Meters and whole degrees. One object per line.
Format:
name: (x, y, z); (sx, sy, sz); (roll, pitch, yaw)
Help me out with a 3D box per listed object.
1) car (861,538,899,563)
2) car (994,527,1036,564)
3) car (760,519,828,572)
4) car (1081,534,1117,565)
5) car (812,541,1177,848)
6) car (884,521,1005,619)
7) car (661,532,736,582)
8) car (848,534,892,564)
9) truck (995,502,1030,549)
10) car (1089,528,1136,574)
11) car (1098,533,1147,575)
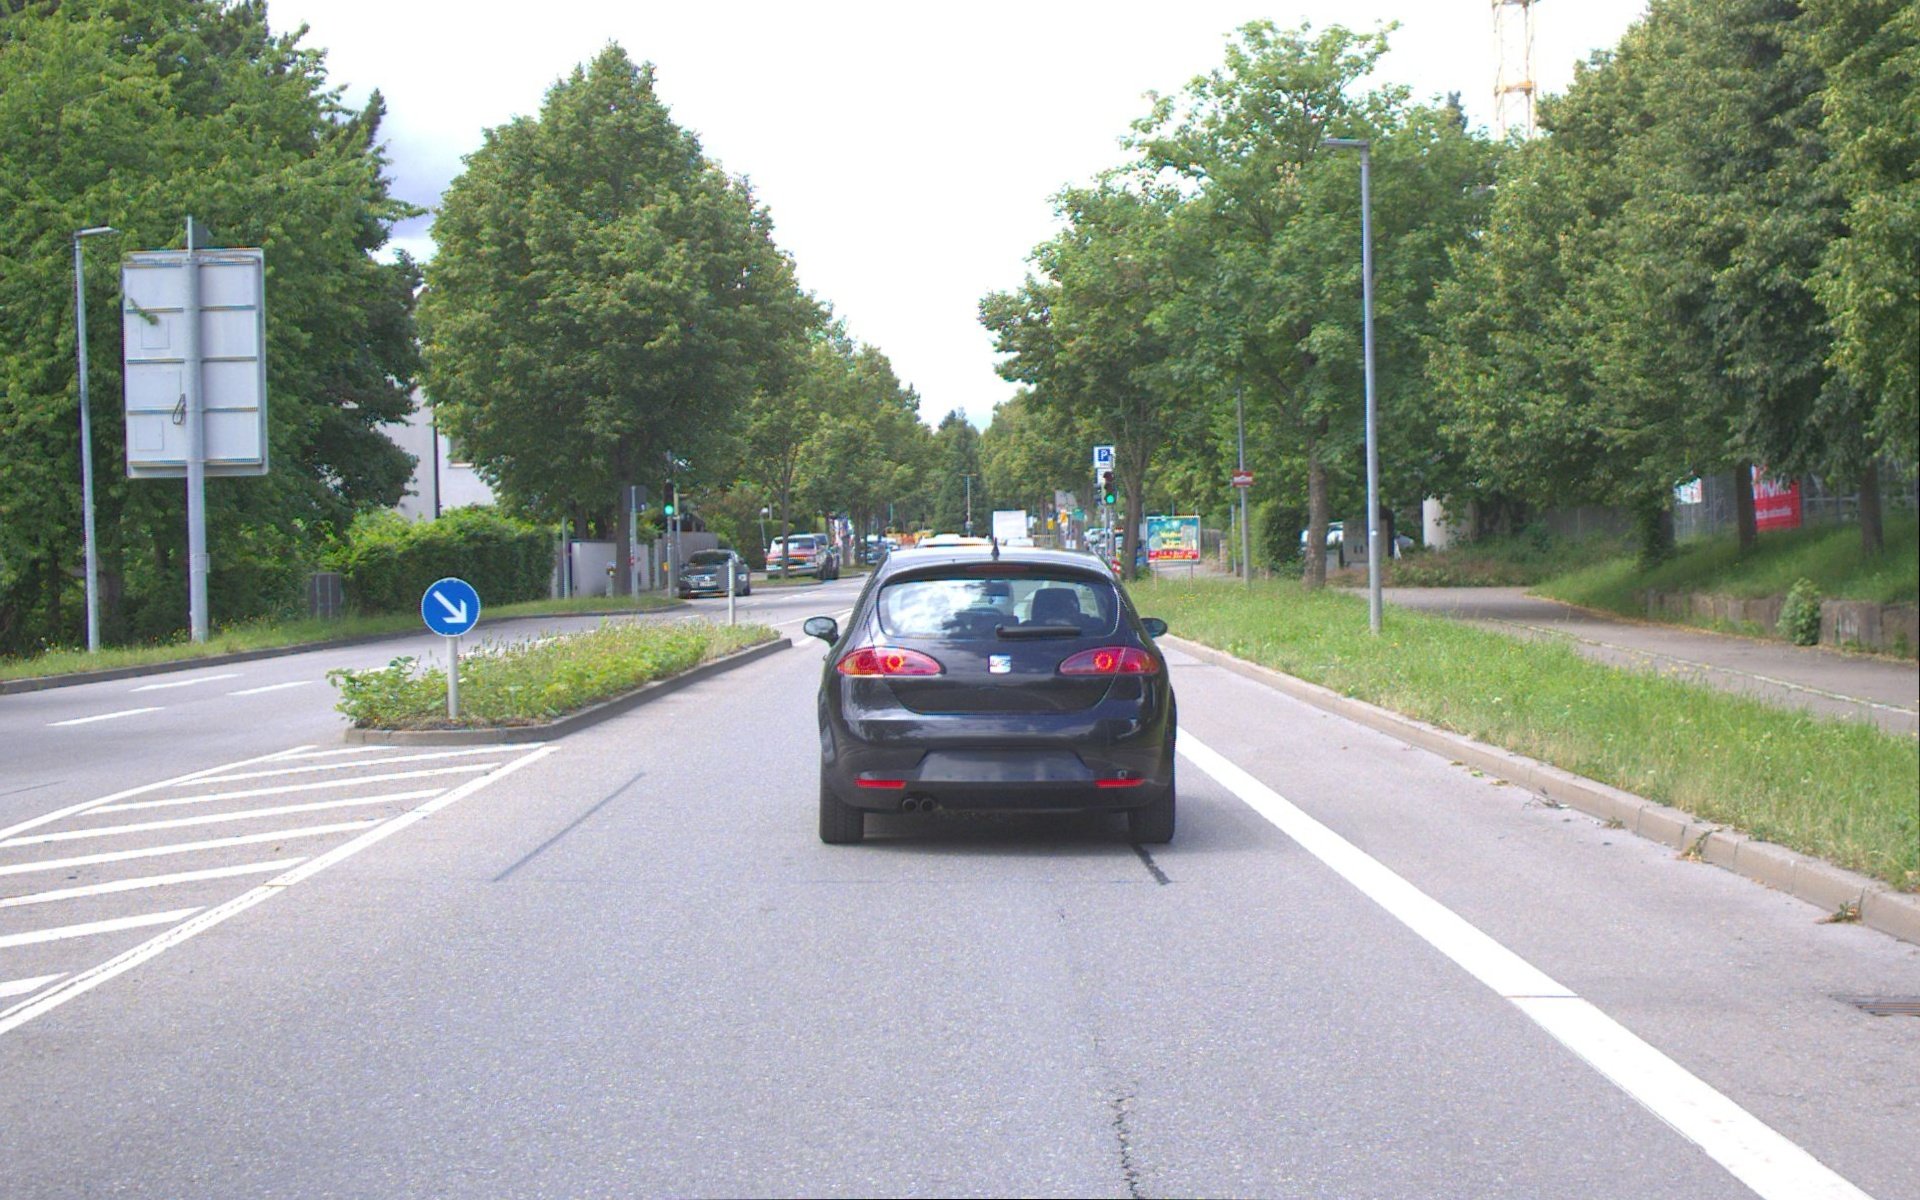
car: (-5.172, -3.195, 222.528); (2.100, 1.501, 5.784); (-3, 1, 1)
car: (2.584, -2.546, 159.922); (1.881, 1.683, 4.214); (-1, 1, 1)
car: (-6.366, -2.095, 132.332); (2.100, 1.890, 5.784); (-3, 1, 1)
car: (7.067, -2.583, 174.976); (1.688, 1.559, 4.214); (-1, 1, 1)
car: (0.160, 0.410, 17.710); (1.663, 1.396, 3.812); (1, 1, 0)
car: (-0.213, -0.486, 55.274); (1.846, 1.504, 3.812); (1, 1, 1)
car: (-7.838, -1.302, 103.237); (1.718, 1.390, 4.801); (-3, 1, 1)
car: (-4.948, -2.827, 189.684); (2.100, 1.501, 5.784); (-3, 1, 1)
truck: (3.602, -5.095, 235.895); (2.279, 3.093, 8.511); (1, 1, 1)
car: (5.836, -1.902, 131.733); (1.688, 1.705, 4.214); (-1, 1, 1)
car: (5.974, -1.693, 126.615); (1.688, 1.485, 3.355); (-1, 1, 1)
